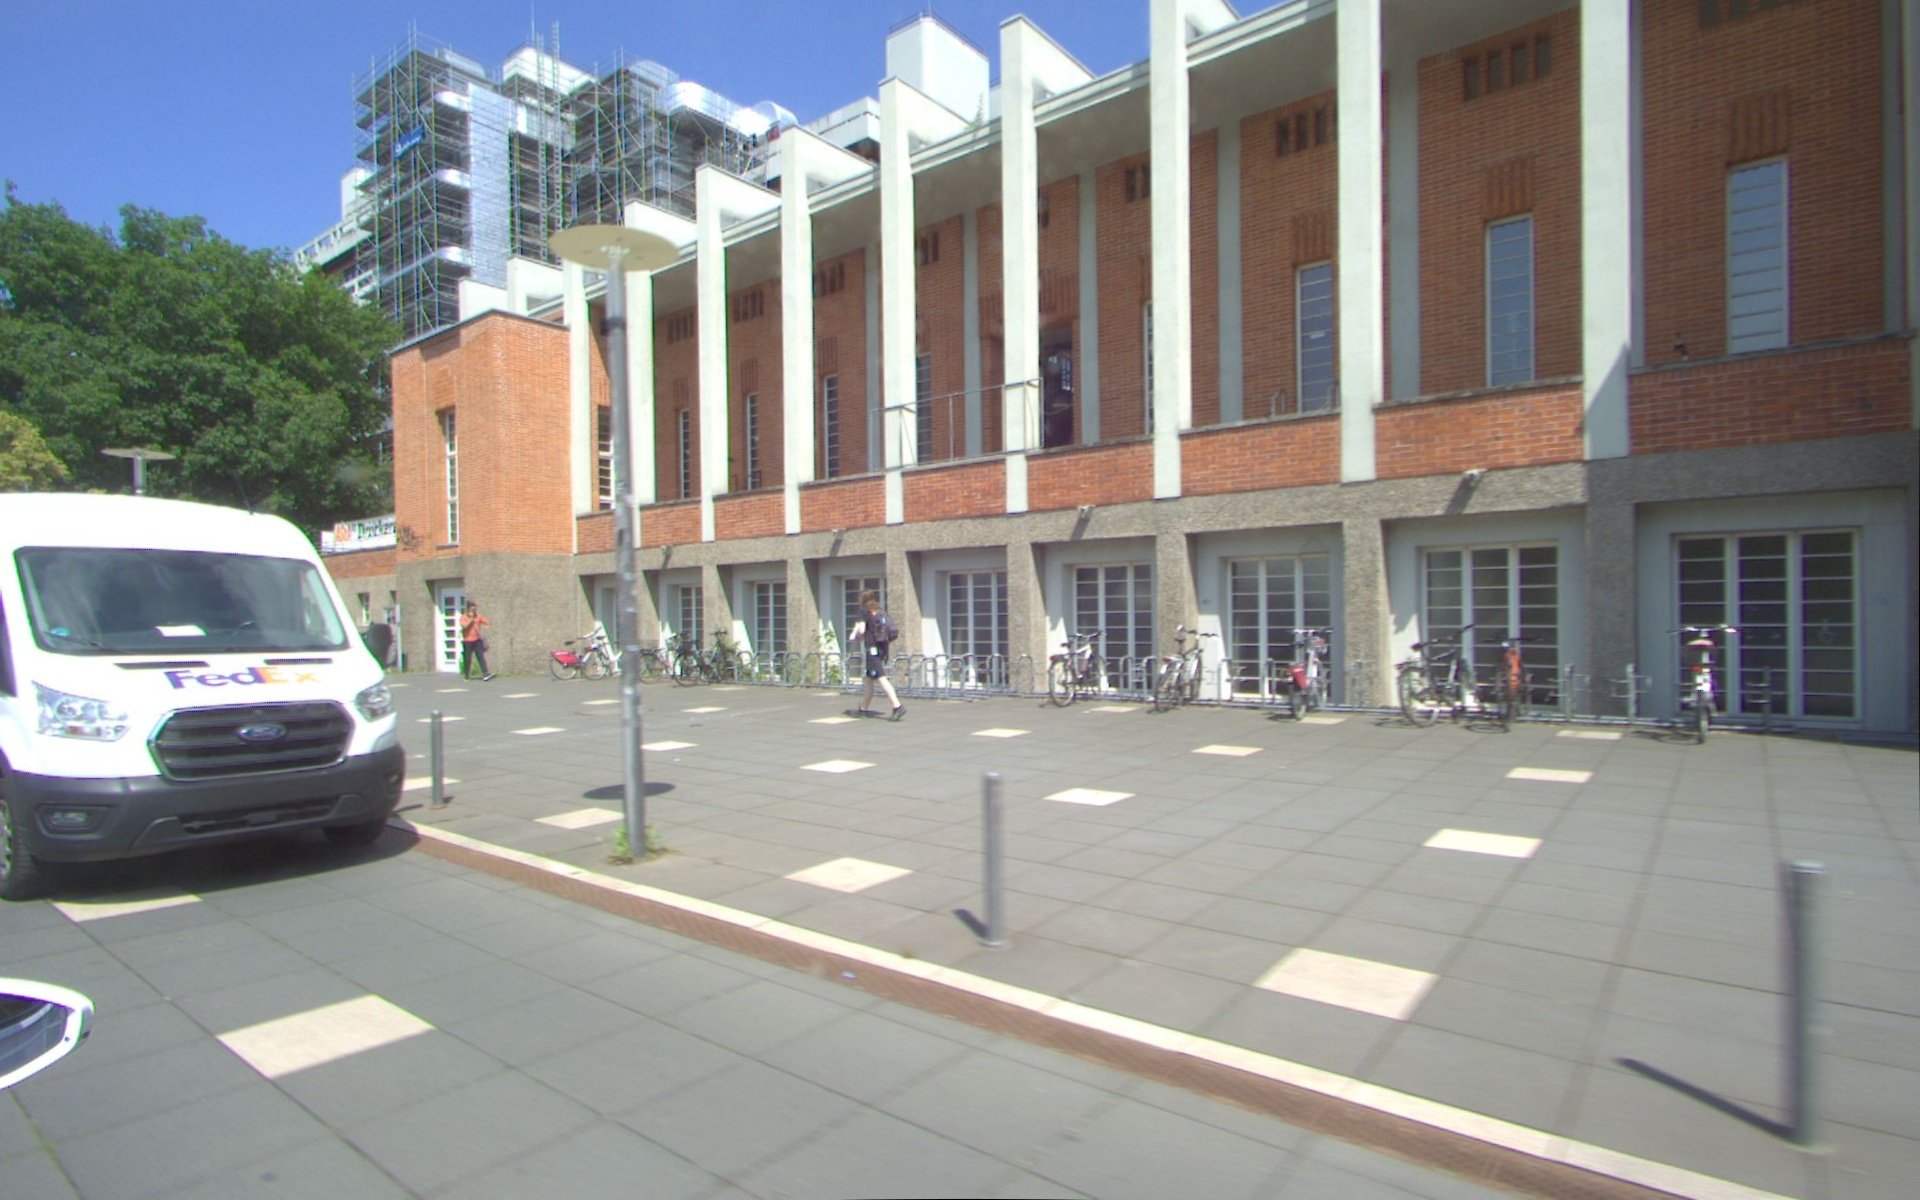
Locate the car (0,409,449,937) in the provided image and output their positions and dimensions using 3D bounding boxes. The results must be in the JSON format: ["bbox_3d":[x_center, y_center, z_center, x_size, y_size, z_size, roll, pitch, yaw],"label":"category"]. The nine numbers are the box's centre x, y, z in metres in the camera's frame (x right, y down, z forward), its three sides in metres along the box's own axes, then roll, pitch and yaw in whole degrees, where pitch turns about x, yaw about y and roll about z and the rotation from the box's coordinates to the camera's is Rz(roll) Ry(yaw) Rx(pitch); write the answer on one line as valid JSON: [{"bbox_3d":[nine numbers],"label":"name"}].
[{"bbox_3d":[-6.267,0.413,7.460,5.775,2.577,2.052,-1,0,37],"label":"car"}]

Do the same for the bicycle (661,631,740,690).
[{"bbox_3d":[-5.357,1.232,20.785,0.430,1.124,1.676,-1,0,37],"label":"bicycle"}]

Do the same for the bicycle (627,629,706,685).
[{"bbox_3d":[-6.381,1.223,21.882,0.430,1.124,1.741,-1,0,37],"label":"bicycle"}]

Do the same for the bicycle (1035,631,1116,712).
[{"bbox_3d":[1.773,1.047,15.144,0.430,1.124,1.676,-1,0,37],"label":"bicycle"}]

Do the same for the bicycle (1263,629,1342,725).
[{"bbox_3d":[4.469,0.965,12.999,0.430,1.124,1.790,-1,0,37],"label":"bicycle"}]

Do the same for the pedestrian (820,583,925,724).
[{"bbox_3d":[-1.214,0.719,13.897,1.181,1.858,0.842,-1,0,34],"label":"pedestrian"}]

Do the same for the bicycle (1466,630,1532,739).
[{"bbox_3d":[6.204,0.931,11.493,0.430,1.124,1.688,-1,0,37],"label":"bicycle"}]

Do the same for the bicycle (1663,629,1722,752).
[{"bbox_3d":[7.595,0.884,10.374,0.451,1.124,1.923,-1,0,37],"label":"bicycle"}]

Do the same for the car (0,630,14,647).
[{"bbox_3d":[-88.962,3.573,92.214,1.740,1.541,4.090,0,-1,-30],"label":"car"}]

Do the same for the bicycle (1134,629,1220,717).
[{"bbox_3d":[3.093,0.995,14.145,0.430,1.124,1.904,-1,0,37],"label":"bicycle"}]

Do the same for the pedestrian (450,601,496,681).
[{"bbox_3d":[-11.547,0.962,23.747,0.895,1.858,0.660,-1,0,38],"label":"pedestrian"}]

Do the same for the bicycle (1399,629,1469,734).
[{"bbox_3d":[5.662,0.930,11.915,0.430,1.124,1.644,-1,0,37],"label":"bicycle"}]

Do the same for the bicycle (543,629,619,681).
[{"bbox_3d":[-9.026,1.287,23.899,0.430,1.165,1.747,-1,0,37],"label":"bicycle"}]

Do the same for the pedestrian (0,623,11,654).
[{"bbox_3d":[-58.061,2.351,60.582,0.618,1.845,0.724,-1,0,3],"label":"pedestrian"}]

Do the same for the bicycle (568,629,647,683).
[{"bbox_3d":[-8.199,1.283,23.363,0.511,1.165,1.747,-1,0,37],"label":"bicycle"}]

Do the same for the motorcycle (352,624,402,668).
[{"bbox_3d":[-18.578,1.461,31.900,2.194,1.340,0.692,-1,0,41],"label":"motorcycle"}]

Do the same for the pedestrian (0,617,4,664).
[{"bbox_3d":[-37.293,1.575,38.394,0.708,1.787,0.845,-1,0,43],"label":"pedestrian"}]
